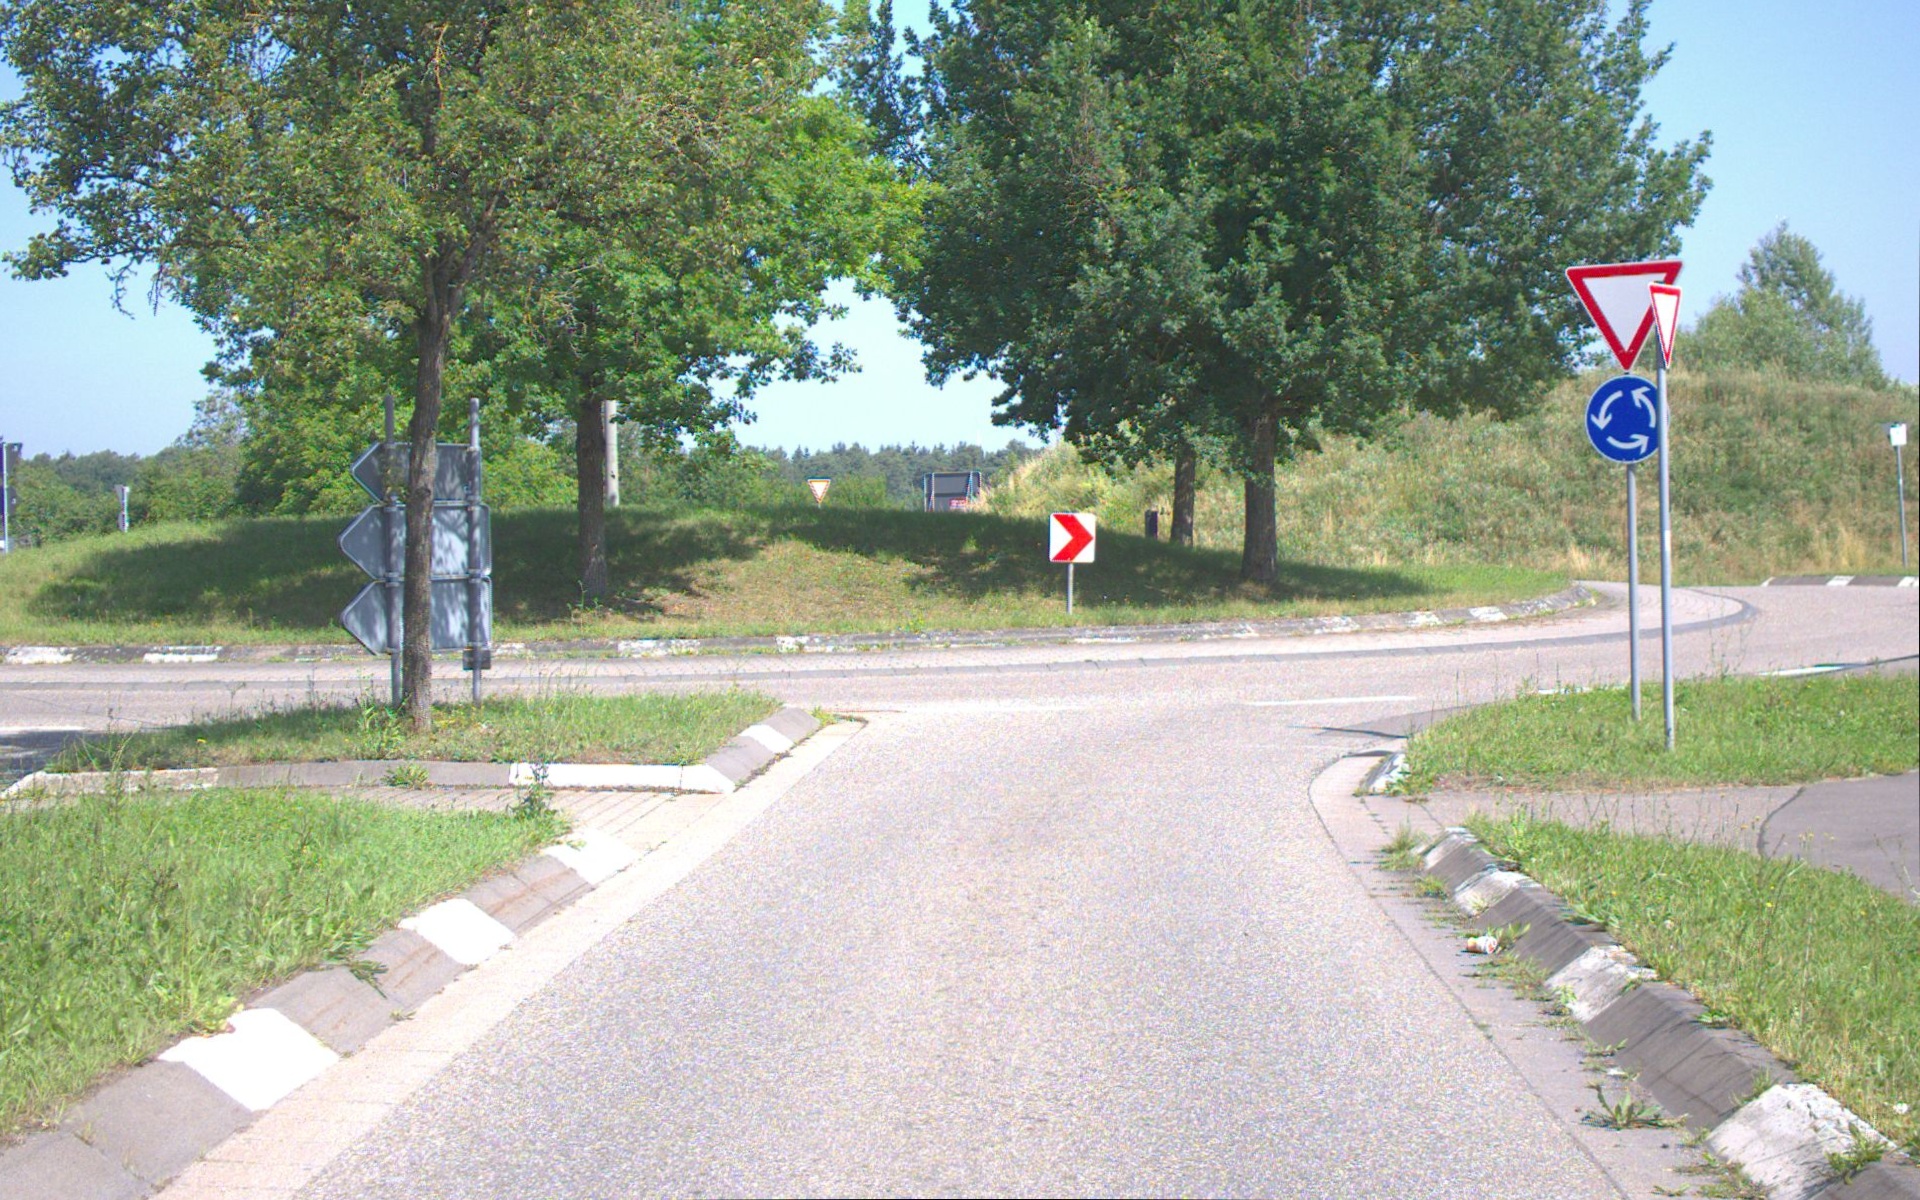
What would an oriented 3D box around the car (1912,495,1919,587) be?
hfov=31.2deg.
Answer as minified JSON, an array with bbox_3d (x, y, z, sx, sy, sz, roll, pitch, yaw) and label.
[{"bbox_3d":[19.008,-1.039,58.997,4.757,1.587,2.001,-1,1,-13],"label":"car"}]
